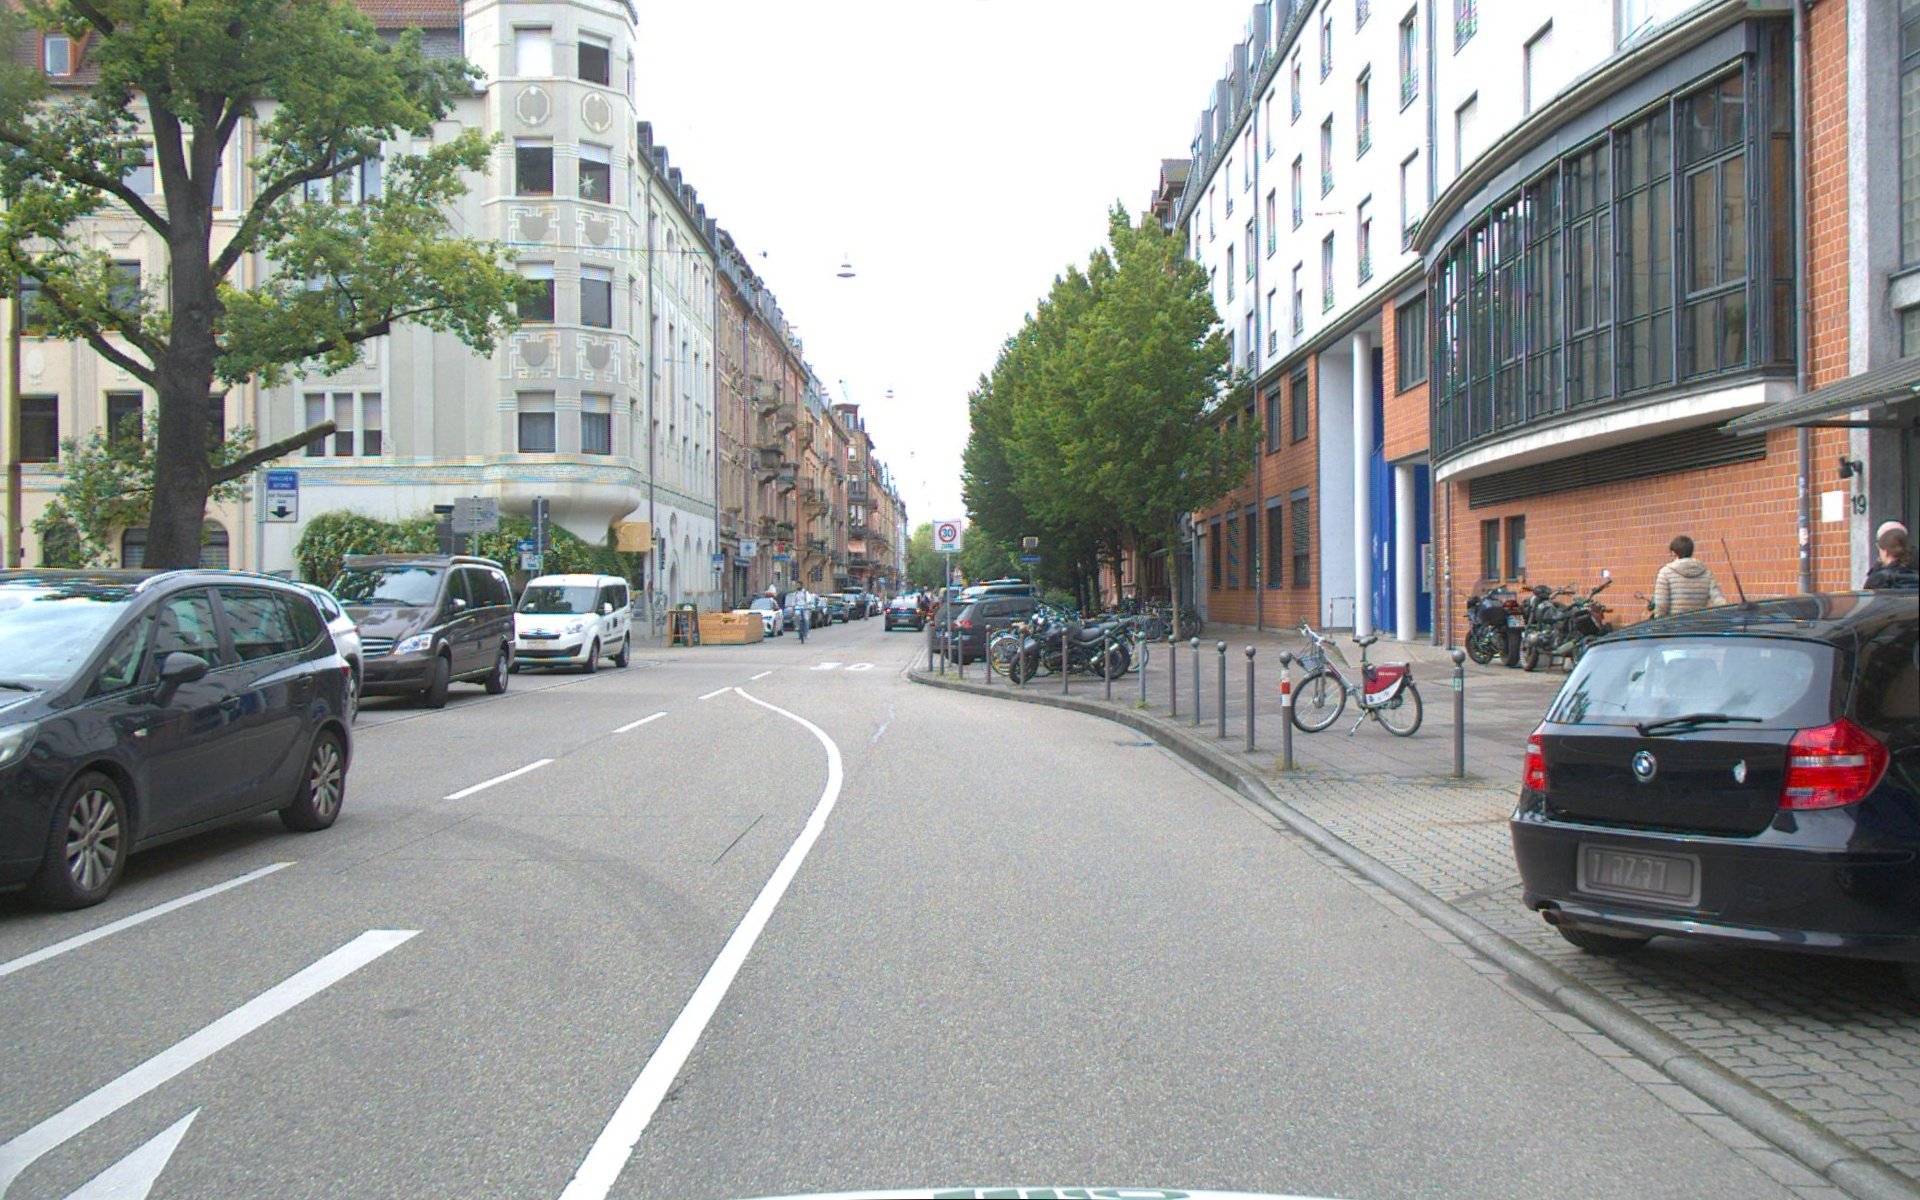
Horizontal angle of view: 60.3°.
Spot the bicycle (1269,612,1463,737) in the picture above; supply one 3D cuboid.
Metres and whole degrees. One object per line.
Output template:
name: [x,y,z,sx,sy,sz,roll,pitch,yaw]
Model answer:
bicycle: [3.918,0.708,16.062,0.723,1.123,1.710,-2,0,-41]

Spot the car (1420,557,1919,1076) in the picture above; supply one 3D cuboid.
car: [4.126,0.604,6.813,4.193,1.504,1.671,-4,2,-25]

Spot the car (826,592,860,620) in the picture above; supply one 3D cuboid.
car: [-7.513,0.383,106.829,1.904,1.772,3.942,1,0,0]

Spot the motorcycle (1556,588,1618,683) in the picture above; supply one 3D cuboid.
motorcycle: [8.080,0.434,21.274,0.589,1.164,1.881,-2,0,25]

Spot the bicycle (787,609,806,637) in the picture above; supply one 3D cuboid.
bicycle: [-5.880,0.840,59.546,0.524,0.995,1.865,0,-1,-1]

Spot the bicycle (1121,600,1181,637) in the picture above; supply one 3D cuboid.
bicycle: [5.710,0.560,49.520,1.717,1.111,0.565,0,-1,-1]

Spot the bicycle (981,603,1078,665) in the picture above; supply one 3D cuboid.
bicycle: [1.371,0.671,32.677,1.846,1.161,0.611,-1,-1,-4]

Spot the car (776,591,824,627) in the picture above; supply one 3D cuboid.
car: [-7.584,0.439,78.740,1.904,1.645,3.942,1,0,0]

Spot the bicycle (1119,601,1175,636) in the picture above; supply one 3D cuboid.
bicycle: [5.912,0.589,52.374,1.717,1.111,0.565,0,-1,-1]

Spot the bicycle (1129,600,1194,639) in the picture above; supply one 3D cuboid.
bicycle: [5.775,0.558,47.501,1.798,1.111,0.565,0,-1,-1]

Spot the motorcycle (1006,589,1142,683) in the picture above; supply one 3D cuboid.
motorcycle: [1.833,0.580,26.796,2.091,1.454,0.770,-1,-1,-4]

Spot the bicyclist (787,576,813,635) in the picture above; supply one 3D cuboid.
bicyclist: [-5.263,0.176,54.307,0.766,1.899,0.715,0,0,1]

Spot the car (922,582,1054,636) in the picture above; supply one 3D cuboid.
car: [1.217,0.381,70.450,5.559,2.164,1.927,-1,0,-35]

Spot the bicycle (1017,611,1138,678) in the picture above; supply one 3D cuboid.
bicycle: [1.983,0.753,28.070,1.969,1.081,0.611,-2,-1,-4]

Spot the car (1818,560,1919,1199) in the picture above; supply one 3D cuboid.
car: [4.336,0.574,4.276,3.945,1.560,1.913,-4,2,-30]

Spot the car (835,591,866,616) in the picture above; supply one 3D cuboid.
car: [-7.766,0.250,117.636,1.904,1.775,3.942,1,0,0]

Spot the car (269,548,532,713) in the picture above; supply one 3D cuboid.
car: [-7.619,0.367,23.143,1.972,2.049,5.182,0,0,-1]

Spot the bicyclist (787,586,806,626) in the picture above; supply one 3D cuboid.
bicyclist: [-5.883,0.236,59.582,0.655,1.423,0.783,0,-1,-3]

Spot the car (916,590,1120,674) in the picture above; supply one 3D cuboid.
car: [1.315,0.687,36.844,4.236,1.606,1.842,-3,0,-34]

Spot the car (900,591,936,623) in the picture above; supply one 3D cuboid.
car: [-2.338,0.427,92.444,1.953,1.710,3.998,0,-1,-1]

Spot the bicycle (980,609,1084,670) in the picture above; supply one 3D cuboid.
bicycle: [1.314,0.731,30.445,1.846,1.061,0.611,-1,-1,-4]

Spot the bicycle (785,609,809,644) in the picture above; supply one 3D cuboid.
bicycle: [-5.315,0.853,54.014,0.556,1.106,1.987,0,0,1]

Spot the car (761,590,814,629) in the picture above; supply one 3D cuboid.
car: [-7.620,0.432,73.267,1.904,1.645,3.942,1,0,0]

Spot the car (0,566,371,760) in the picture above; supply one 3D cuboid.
car: [-7.697,0.540,16.909,1.805,1.718,4.432,0,1,-1]

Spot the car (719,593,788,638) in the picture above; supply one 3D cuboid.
car: [-7.658,0.581,61.636,1.903,1.580,3.818,-1,0,2]

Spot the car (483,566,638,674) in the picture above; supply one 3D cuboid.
car: [-7.752,0.348,32.519,1.805,1.973,4.549,0,0,2]

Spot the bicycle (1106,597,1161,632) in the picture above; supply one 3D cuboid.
bicycle: [5.662,0.477,54.003,1.717,1.111,0.565,0,-1,-1]

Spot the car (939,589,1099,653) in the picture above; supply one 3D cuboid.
car: [1.628,0.566,45.264,4.007,1.612,1.883,-1,-1,-32]

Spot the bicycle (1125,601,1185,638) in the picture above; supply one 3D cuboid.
bicycle: [5.768,0.580,48.914,1.717,1.111,0.565,0,-1,-1]

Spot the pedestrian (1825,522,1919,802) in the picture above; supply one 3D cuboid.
pedestrian: [5.942,0.375,10.419,0.508,1.691,0.716,-2,-1,-4]

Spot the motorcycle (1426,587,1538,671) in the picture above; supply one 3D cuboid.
motorcycle: [8.122,0.421,25.839,1.007,1.223,2.209,-2,0,-1]

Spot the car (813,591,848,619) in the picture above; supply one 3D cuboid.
car: [-7.943,0.320,101.938,1.904,1.645,3.942,1,0,-1]

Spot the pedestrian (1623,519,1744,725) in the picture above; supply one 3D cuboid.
pedestrian: [6.555,0.191,15.009,0.617,1.784,0.811,-3,0,-4]

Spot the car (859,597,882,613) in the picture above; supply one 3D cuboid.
car: [-7.547,0.432,139.369,1.954,1.344,3.997,0,-1,-4]

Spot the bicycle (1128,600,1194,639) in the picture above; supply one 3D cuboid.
bicycle: [5.663,0.547,46.706,1.798,1.111,0.543,0,-1,-1]

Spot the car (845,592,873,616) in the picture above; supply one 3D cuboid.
car: [-7.577,0.296,124.435,1.904,1.769,3.942,0,0,0]

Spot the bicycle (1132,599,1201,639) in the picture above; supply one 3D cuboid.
bicycle: [5.723,0.531,45.897,1.856,1.111,0.543,0,-1,-1]

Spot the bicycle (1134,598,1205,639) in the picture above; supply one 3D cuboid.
bicycle: [5.731,0.519,45.292,1.893,1.111,0.577,0,-1,-1]

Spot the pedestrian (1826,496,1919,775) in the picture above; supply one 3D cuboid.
pedestrian: [6.472,0.232,11.276,0.654,1.830,0.716,-2,-1,-4]

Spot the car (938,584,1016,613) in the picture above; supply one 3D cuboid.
car: [1.245,-0.115,118.335,5.330,1.900,1.931,-1,0,-30]

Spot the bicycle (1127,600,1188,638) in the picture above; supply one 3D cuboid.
bicycle: [5.739,0.553,48.131,1.717,1.111,0.565,0,-1,-1]

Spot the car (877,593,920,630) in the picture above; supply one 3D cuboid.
car: [-2.837,0.557,77.196,1.953,1.710,3.998,0,-1,-1]

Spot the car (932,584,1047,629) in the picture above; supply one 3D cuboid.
car: [1.408,0.301,78.551,5.340,2.027,1.927,-1,0,-35]

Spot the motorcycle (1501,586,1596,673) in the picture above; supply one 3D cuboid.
motorcycle: [8.311,0.398,23.445,0.589,1.164,2.070,-1,0,0]

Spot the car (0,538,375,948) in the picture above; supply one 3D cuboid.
car: [-4.905,0.584,9.002,1.807,1.713,4.548,0,0,0]

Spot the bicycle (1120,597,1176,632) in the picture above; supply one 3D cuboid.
bicycle: [6.010,0.456,52.985,1.717,1.111,0.565,0,-1,-1]

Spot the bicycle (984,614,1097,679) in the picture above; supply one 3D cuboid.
bicycle: [1.390,0.805,28.849,1.891,1.061,0.611,-2,-1,-4]
